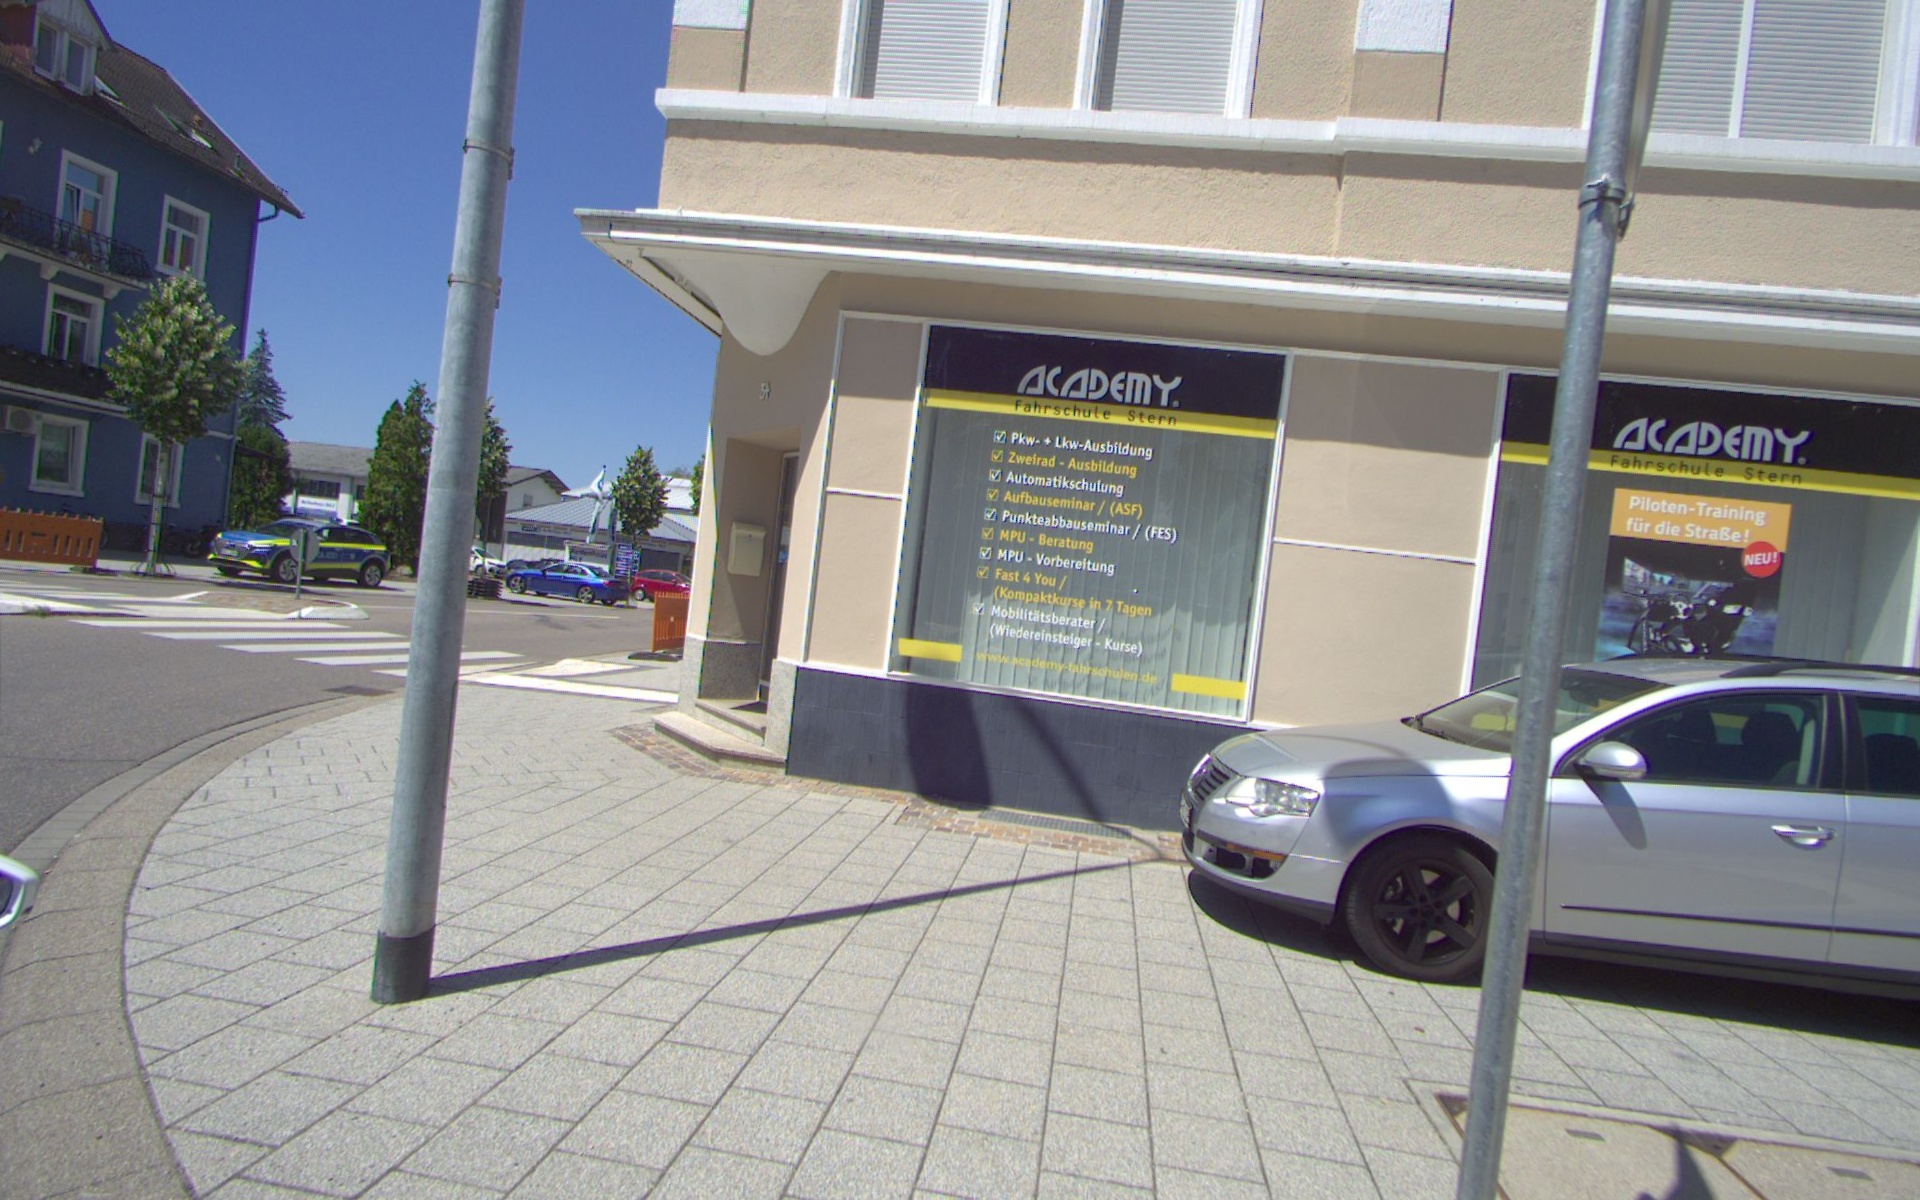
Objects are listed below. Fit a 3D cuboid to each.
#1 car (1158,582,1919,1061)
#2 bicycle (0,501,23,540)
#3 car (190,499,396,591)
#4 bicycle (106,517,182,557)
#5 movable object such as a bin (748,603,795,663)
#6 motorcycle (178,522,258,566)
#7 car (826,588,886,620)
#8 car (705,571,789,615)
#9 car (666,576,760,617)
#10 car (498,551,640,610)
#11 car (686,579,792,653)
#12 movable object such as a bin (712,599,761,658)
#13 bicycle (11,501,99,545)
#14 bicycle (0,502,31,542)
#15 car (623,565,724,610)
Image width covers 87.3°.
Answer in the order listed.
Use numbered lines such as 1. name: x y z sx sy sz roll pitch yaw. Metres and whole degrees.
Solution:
1. car: 3.413 0.957 4.787 4.600 1.550 1.770 6 1 7
2. bicycle: -24.366 -2.045 24.882 0.432 0.917 1.714 9 0 11
3. car: -17.168 -1.337 26.186 1.870 1.764 4.253 8 -1 11
4. bicycle: -23.572 -1.812 29.079 0.472 0.917 1.714 9 0 11
5. movable object such as a bin: -3.639 0.629 19.452 0.630 1.068 0.704 6 0 6
6. motorcycle: -22.242 -1.672 30.194 0.576 1.064 1.907 9 0 14
7. car: -7.731 0.268 75.064 3.923 1.884 1.999 7 2 10
8. car: -11.784 -0.374 55.709 3.924 1.804 2.001 8 0 14
9. car: -12.220 -0.155 49.890 3.923 1.464 2.001 7 0 10
10. car: -14.480 -0.712 37.379 4.384 1.496 1.910 7 -3 7
11. car: -5.179 0.363 24.051 1.872 1.454 4.169 5 -1 -6
12. movable object such as a bin: -4.331 0.547 19.510 0.658 1.068 0.704 5 0 6
13. bicycle: -23.923 -2.016 26.628 0.472 0.917 1.714 9 0 11
14. bicycle: -23.959 -1.990 24.667 0.432 0.917 1.714 9 0 11
15. car: -13.441 -0.556 47.306 3.923 1.548 2.001 7 0 10
